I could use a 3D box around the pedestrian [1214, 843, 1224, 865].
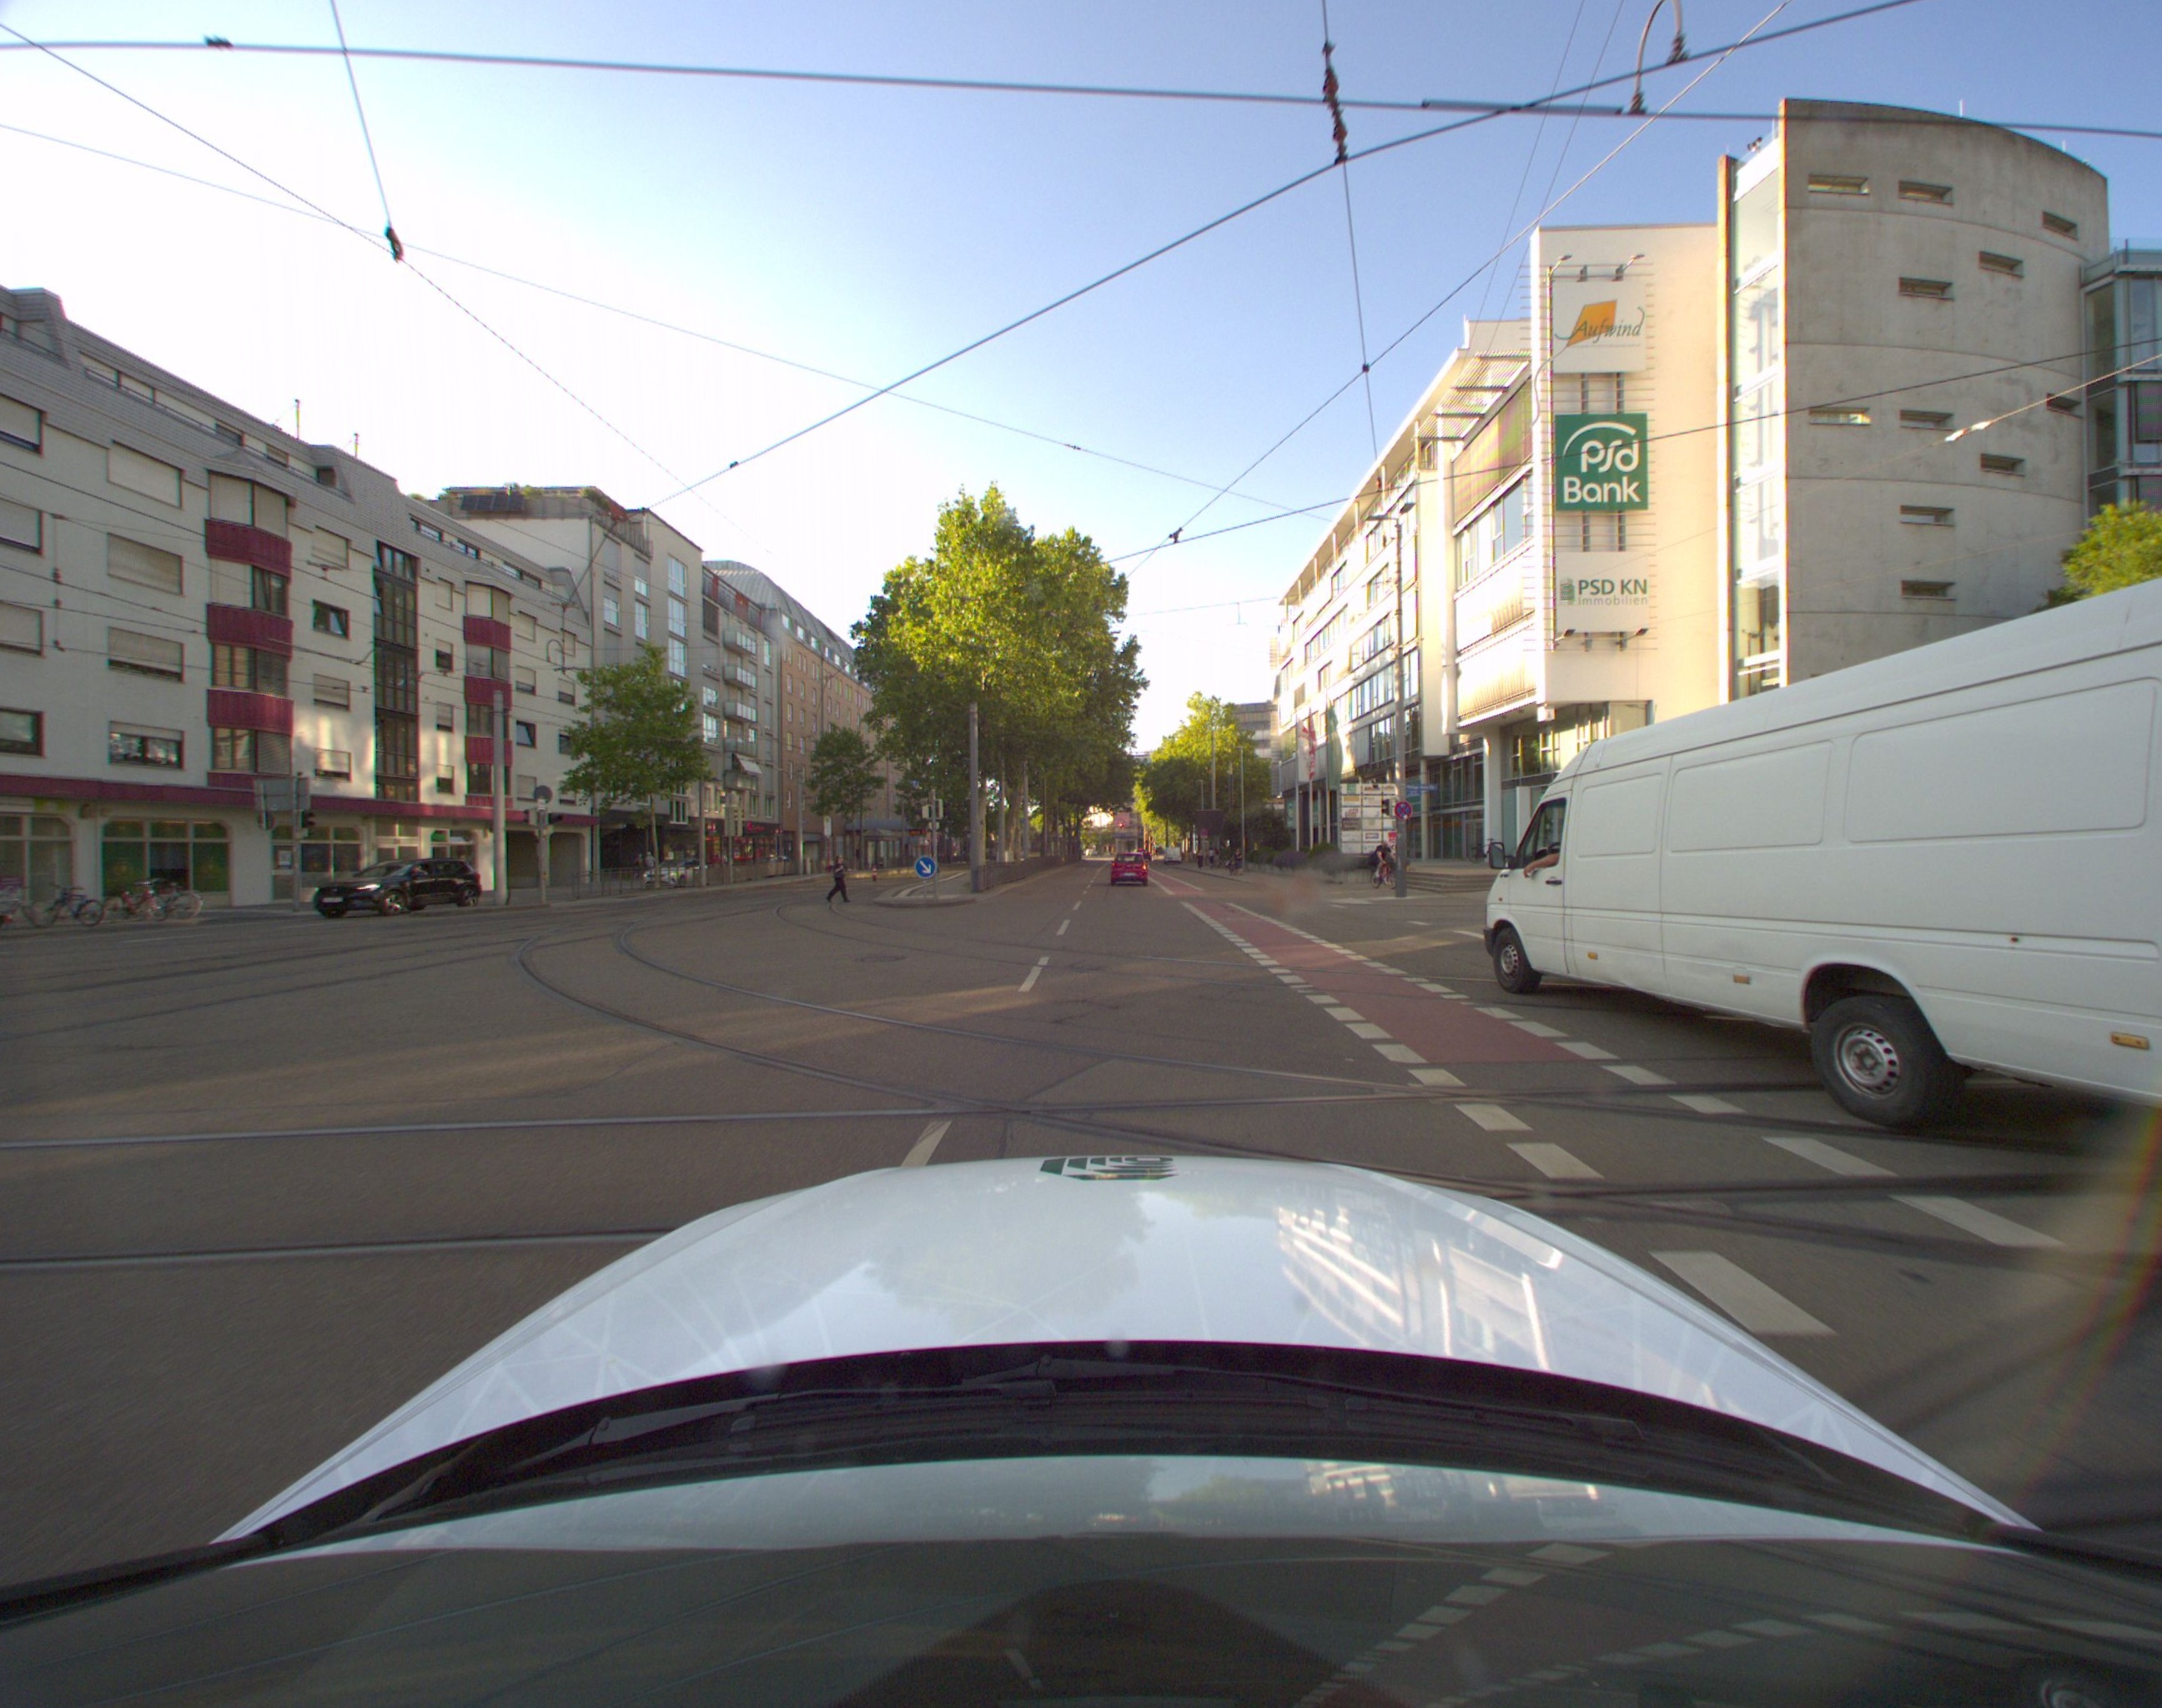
[{"bbox_3d":[11.515,0.028,67.817,0.539,1.796,0.907,-4,0,0],"label":"pedestrian"}]

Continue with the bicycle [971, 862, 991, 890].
[{"bbox_3d":[-3.727,0.803,30.392,0.393,0.949,1.354,-1,3,7],"label":"bicycle"}]

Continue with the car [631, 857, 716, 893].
[{"bbox_3d":[-19.885,0.971,39.970,1.948,1.595,4.262,-1,1,1],"label":"car"}]

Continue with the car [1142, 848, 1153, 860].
[{"bbox_3d":[10.783,0.020,132.499,1.628,1.800,3.333,-1,0,4],"label":"car"}]

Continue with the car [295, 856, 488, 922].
[{"bbox_3d":[-20.084,0.949,24.010,1.948,1.672,4.262,-1,1,1],"label":"car"}]

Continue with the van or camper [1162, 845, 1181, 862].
[{"bbox_3d":[10.872,-0.011,98.355,1.985,1.989,4.748,-1,0,3],"label":"van or camper"}]

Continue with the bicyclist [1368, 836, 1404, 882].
[{"bbox_3d":[11.094,0.184,29.643,0.721,1.602,1.085,-3,0,-9],"label":"bicyclist"}]

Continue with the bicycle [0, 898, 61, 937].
[{"bbox_3d":[-25.413,1.510,19.309,1.835,0.854,0.554,-1,0,4],"label":"bicycle"}]

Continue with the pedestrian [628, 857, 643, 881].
[{"bbox_3d":[-27.369,0.915,50.028,0.533,1.494,0.587,-1,0,-1],"label":"pedestrian"}]

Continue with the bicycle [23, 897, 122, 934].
[{"bbox_3d":[-24.792,1.508,20.023,1.835,0.854,0.554,-1,0,4],"label":"bicycle"}]

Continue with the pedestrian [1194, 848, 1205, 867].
[{"bbox_3d":[9.878,0.284,67.889,0.641,1.579,0.721,-5,0,-8],"label":"pedestrian"}]

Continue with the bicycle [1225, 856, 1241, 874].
[{"bbox_3d":[9.200,0.655,49.385,0.519,0.975,2.202,-5,1,1],"label":"bicycle"}]

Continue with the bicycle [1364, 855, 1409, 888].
[{"bbox_3d":[11.116,0.612,29.709,0.696,1.098,1.745,-5,1,-9],"label":"bicycle"}]

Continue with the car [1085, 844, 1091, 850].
[{"bbox_3d":[2.035,-2.027,236.297,1.773,1.588,3.408,0,0,-3],"label":"car"}]

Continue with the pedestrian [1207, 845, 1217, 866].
[{"bbox_3d":[10.940,0.144,67.864,0.562,1.702,0.907,-4,0,0],"label":"pedestrian"}]

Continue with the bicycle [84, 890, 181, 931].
[{"bbox_3d":[-24.780,1.465,21.297,1.837,0.985,0.553,-1,0,-1],"label":"bicycle"}]

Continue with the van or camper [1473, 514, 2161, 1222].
[{"bbox_3d":[5.249,0.025,5.968,1.961,2.716,6.309,0,0,2],"label":"van or camper"}]

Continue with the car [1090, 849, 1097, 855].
[{"bbox_3d":[3.350,-0.473,223.660,1.773,1.534,3.408,0,0,-3],"label":"car"}]

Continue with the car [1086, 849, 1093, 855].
[{"bbox_3d":[2.267,-0.504,230.280,1.773,1.534,3.408,0,0,-3],"label":"car"}]

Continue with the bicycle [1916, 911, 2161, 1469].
[{"bbox_3d":[2.862,0.832,1.565,0.646,1.281,1.970,-1,0,6],"label":"bicycle"}]

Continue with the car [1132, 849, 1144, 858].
[{"bbox_3d":[9.930,-0.164,141.780,1.773,1.534,3.508,0,0,-3],"label":"car"}]

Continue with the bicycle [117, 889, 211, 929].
[{"bbox_3d":[-24.642,1.467,21.902,1.837,0.985,0.553,-1,0,-1],"label":"bicycle"}]

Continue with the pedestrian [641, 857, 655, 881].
[{"bbox_3d":[-26.690,0.918,50.209,0.533,1.494,0.587,-1,0,-1],"label":"pedestrian"}]

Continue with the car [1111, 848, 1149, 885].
[{"bbox_3d":[2.127,0.517,36.154,1.607,1.534,3.413,0,0,2],"label":"car"}]

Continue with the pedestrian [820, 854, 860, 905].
[{"bbox_3d":[-7.636,0.799,25.849,1.043,1.544,0.693,-1,0,-4],"label":"pedestrian"}]

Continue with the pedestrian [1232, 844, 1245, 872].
[{"bbox_3d":[9.535,0.258,49.440,0.644,1.680,0.651,-1,0,0],"label":"pedestrian"}]
